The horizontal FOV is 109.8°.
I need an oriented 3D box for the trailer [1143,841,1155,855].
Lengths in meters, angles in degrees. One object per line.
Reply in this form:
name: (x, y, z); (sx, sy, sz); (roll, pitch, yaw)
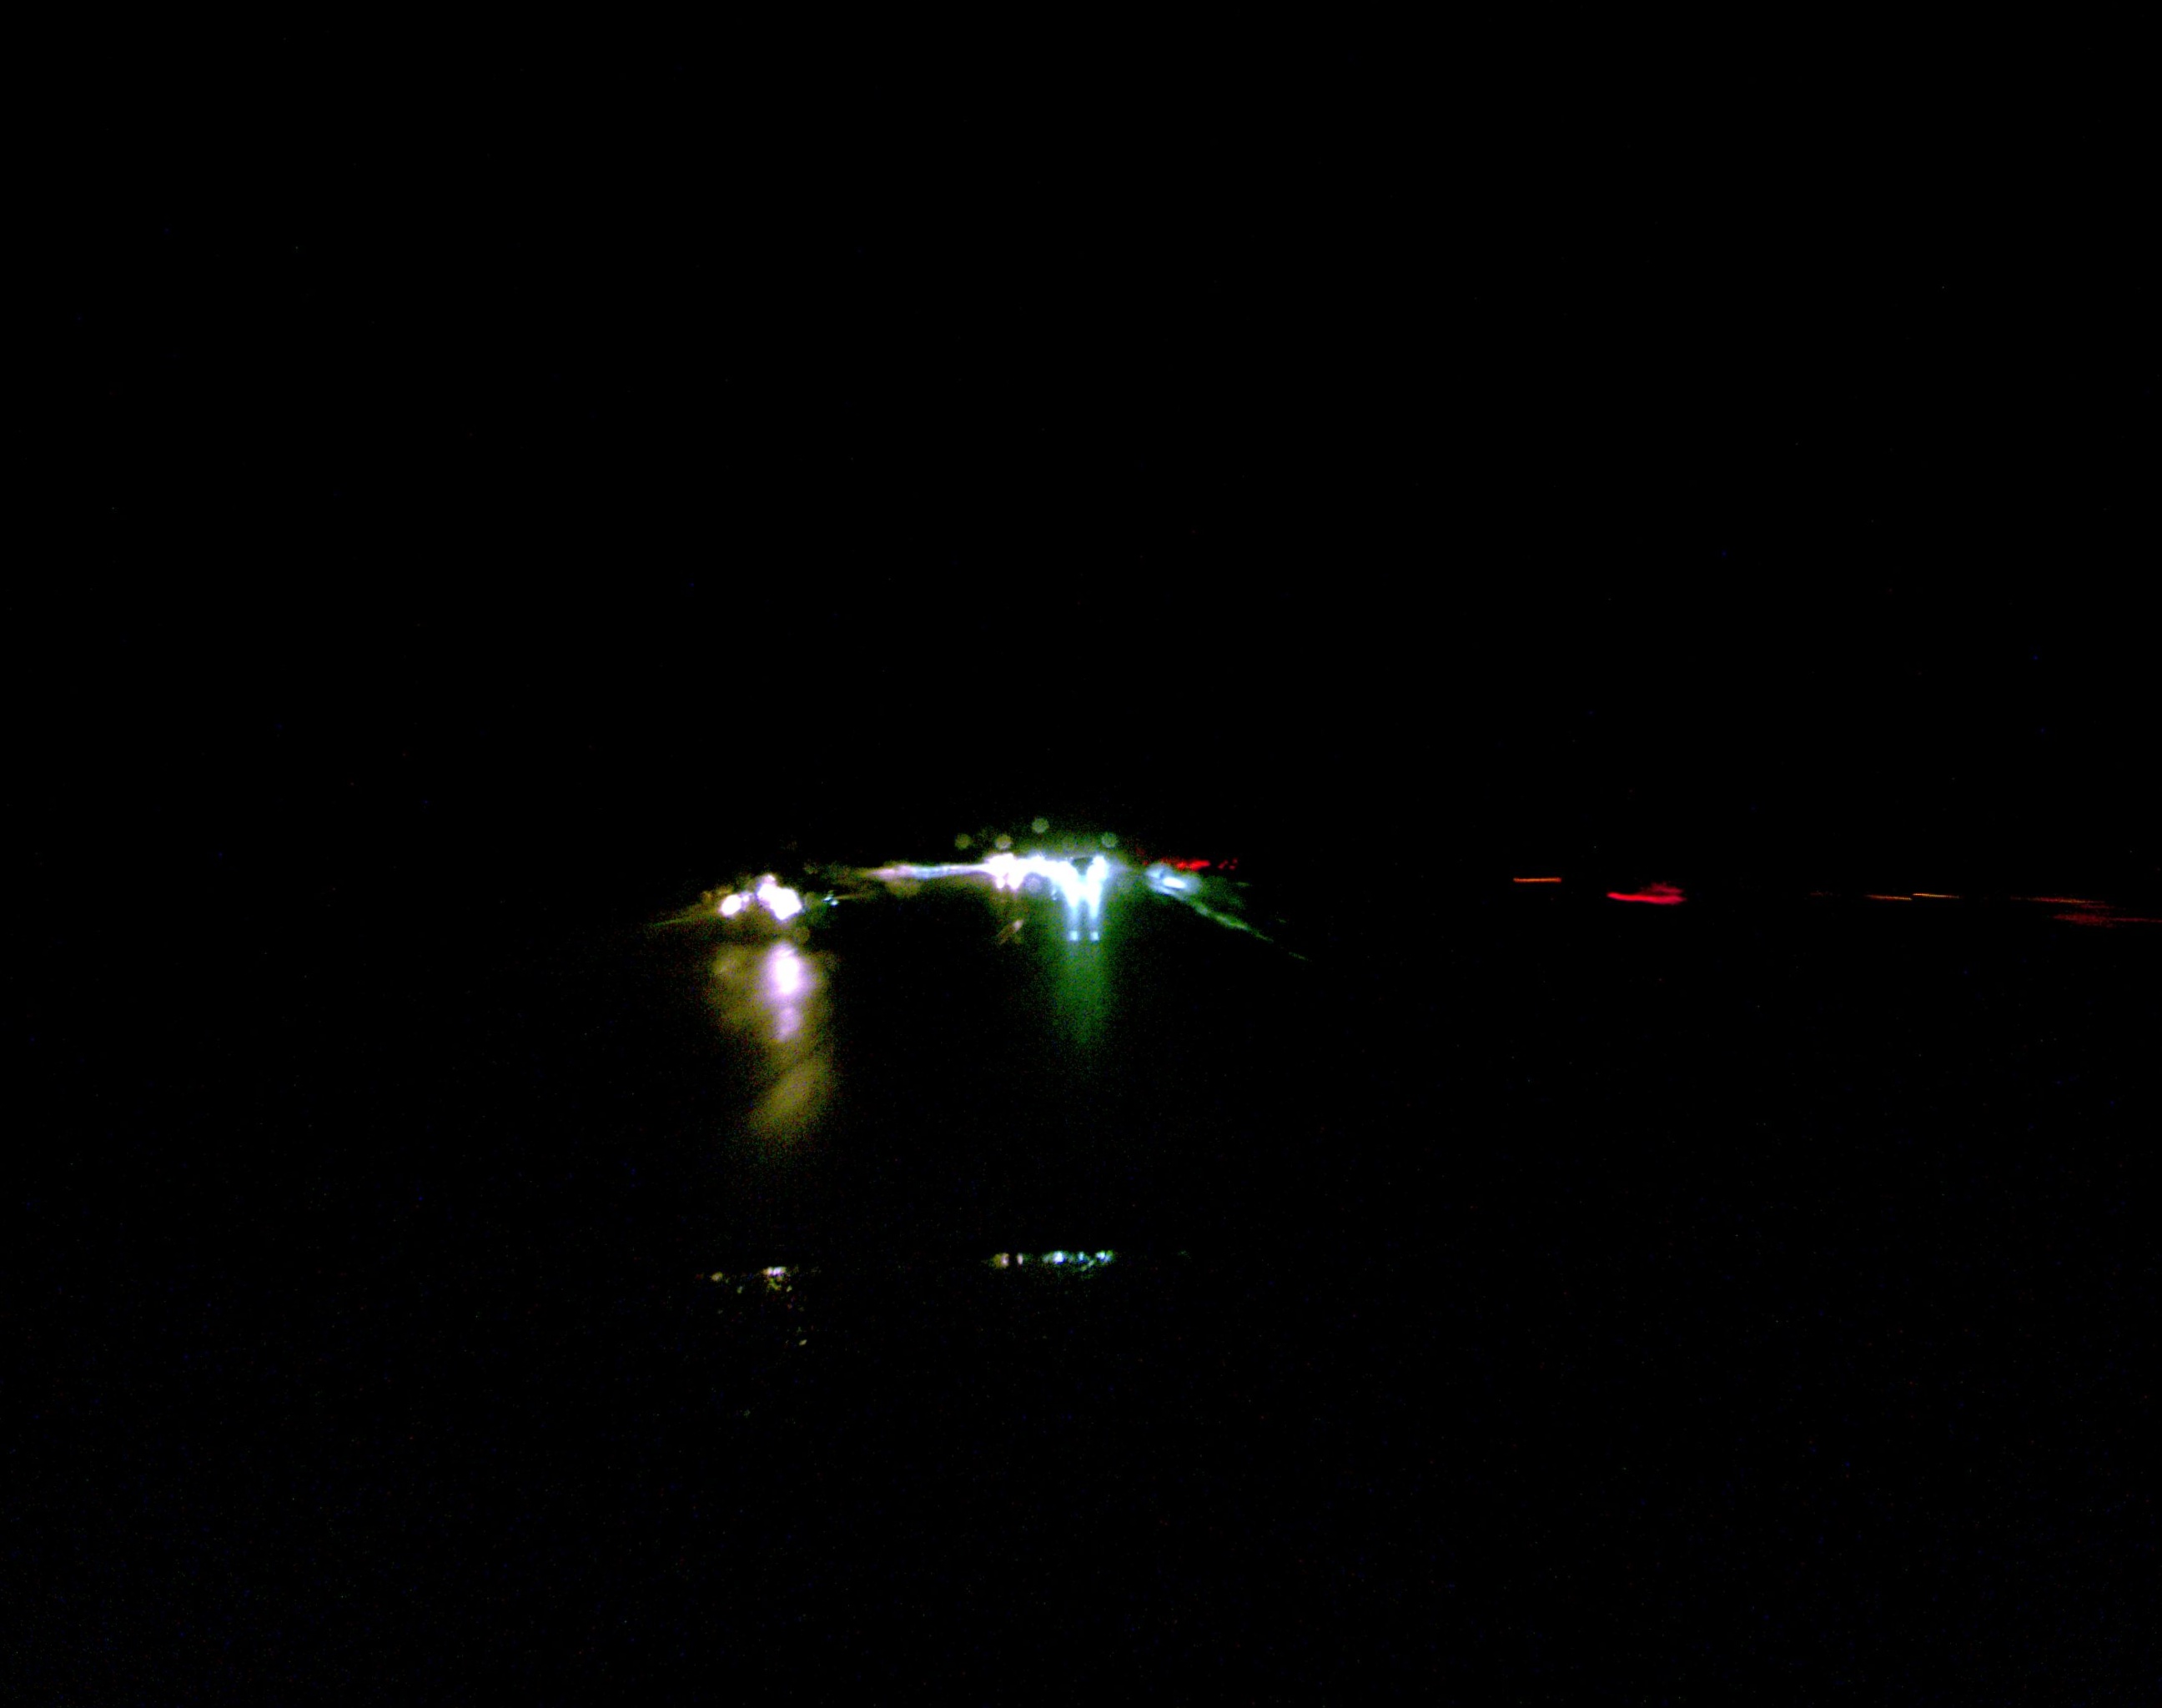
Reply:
trailer: (21.276, -1.900, 238.627); (2.697, 4.196, 15.644); (-2, 0, 1)

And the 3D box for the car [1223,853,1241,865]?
car: (22.580, 0.758, 113.842); (1.998, 1.704, 4.246); (0, 0, 1)

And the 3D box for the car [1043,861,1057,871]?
car: (-5.291, 2.066, 130.720); (1.882, 1.654, 4.002); (-3, -1, 4)

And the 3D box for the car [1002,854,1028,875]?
car: (-6.107, 0.989, 70.652); (1.832, 1.835, 4.699); (-3, -1, 1)

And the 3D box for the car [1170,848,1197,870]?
car: (9.801, 0.453, 72.788); (1.998, 2.002, 4.451); (-1, 0, 1)

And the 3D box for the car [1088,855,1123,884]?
car: (1.561, 0.974, 47.210); (1.882, 1.654, 4.002); (-3, -1, 4)

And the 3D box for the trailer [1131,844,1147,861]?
trailer: (16.013, -0.401, 211.165); (2.698, 4.352, 14.629); (-2, 0, -1)

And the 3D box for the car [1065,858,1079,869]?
car: (-1.480, 1.551, 125.570); (1.883, 1.654, 4.002); (-3, -1, 3)

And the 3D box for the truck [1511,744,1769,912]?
truck: (16.835, -0.716, 23.628); (2.980, 4.243, 6.504); (-5, 0, 1)

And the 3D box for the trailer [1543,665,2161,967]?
trailer: (16.768, -0.680, 17.610); (2.980, 4.243, 14.862); (-5, 0, 1)

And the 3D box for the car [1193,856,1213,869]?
car: (16.511, 1.103, 103.061); (1.998, 1.749, 4.591); (0, 0, 1)

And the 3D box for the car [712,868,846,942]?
car: (-7.114, 1.125, 18.341); (1.644, 1.494, 4.013); (-1, 0, -1)

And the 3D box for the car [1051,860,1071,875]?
car: (-2.405, 1.614, 91.134); (1.882, 1.654, 4.002); (-3, -1, 4)
